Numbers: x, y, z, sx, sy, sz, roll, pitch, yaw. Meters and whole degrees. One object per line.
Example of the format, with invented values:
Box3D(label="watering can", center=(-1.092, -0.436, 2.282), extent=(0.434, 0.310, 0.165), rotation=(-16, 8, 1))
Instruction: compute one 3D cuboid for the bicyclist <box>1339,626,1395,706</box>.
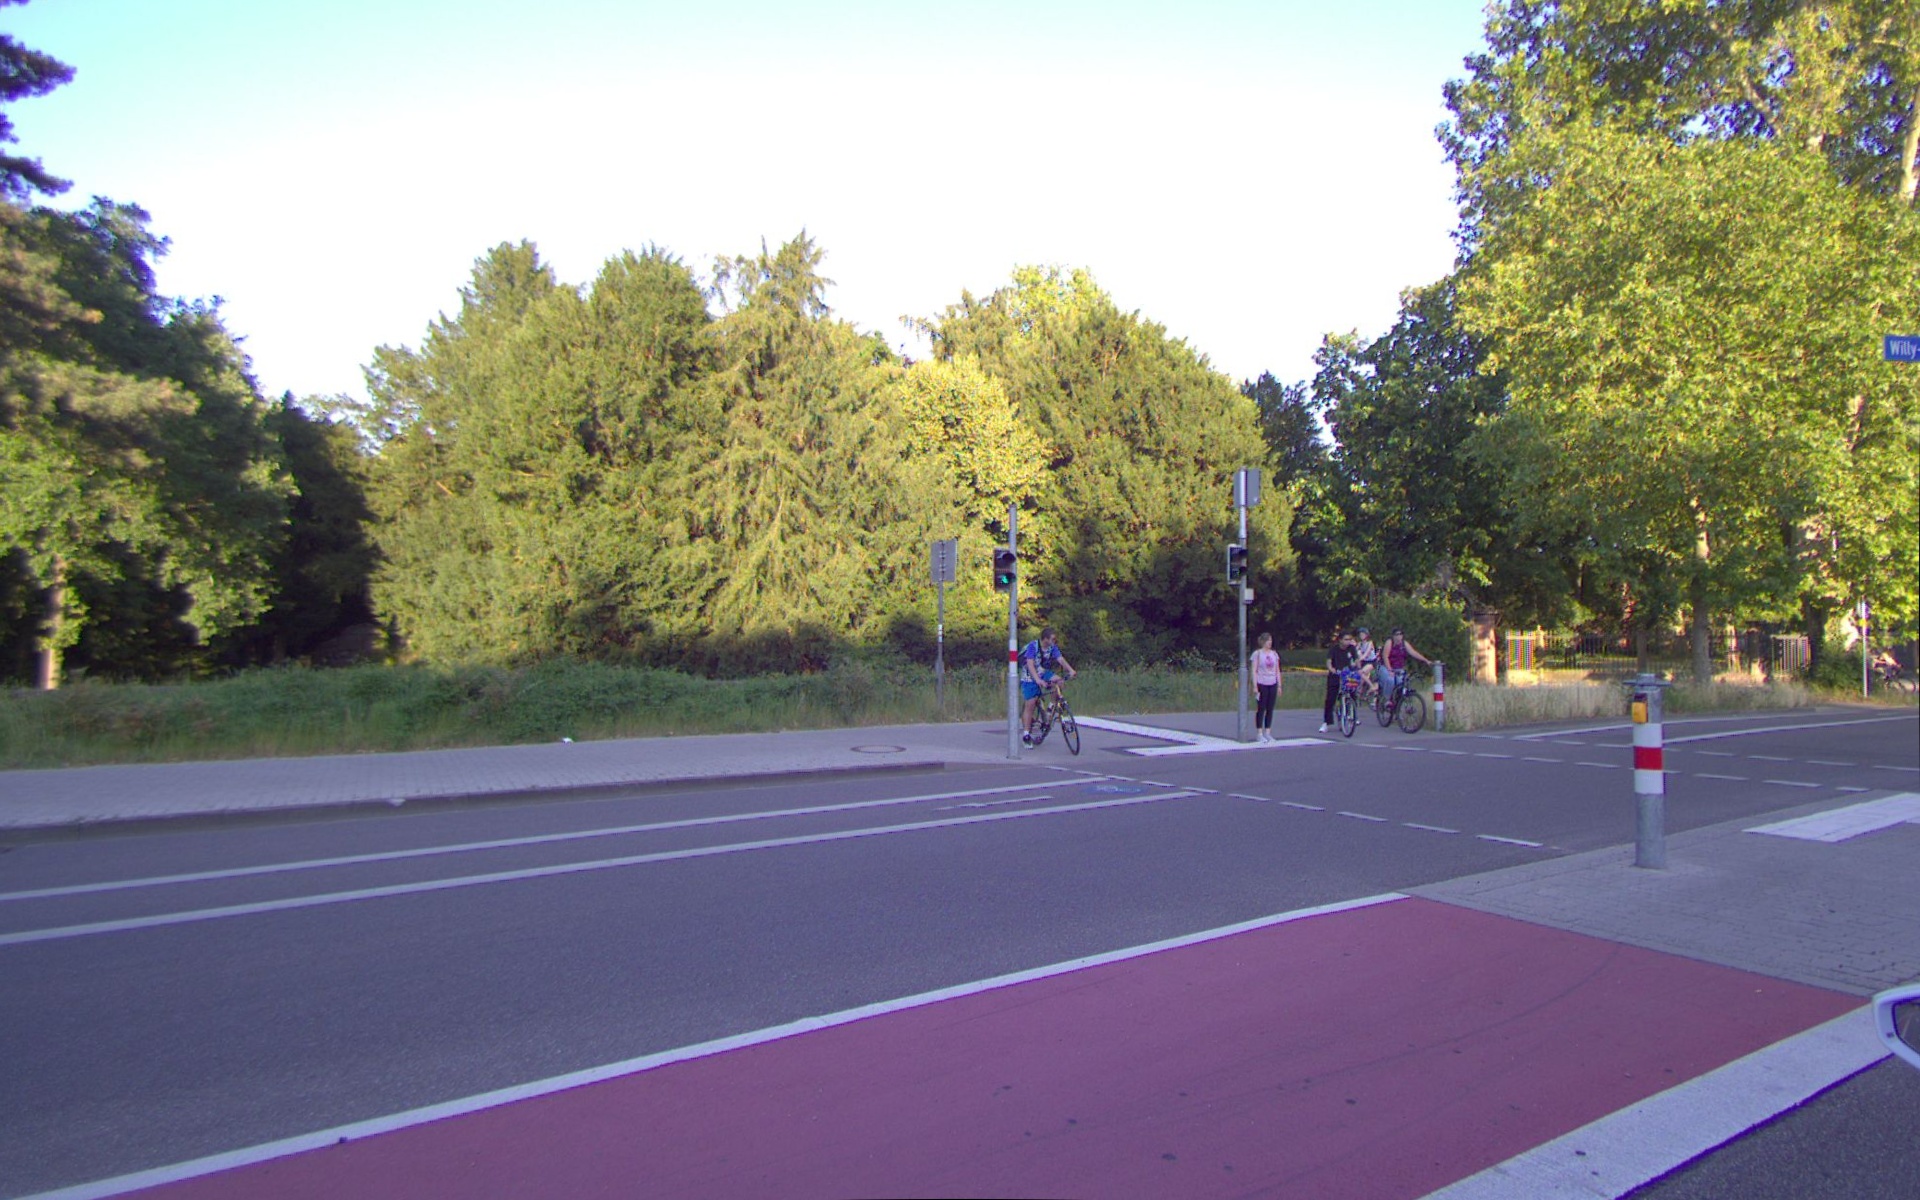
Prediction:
Box3D(label="bicyclist", center=(9.139, 1.470, 22.555), extent=(0.934, 1.751, 0.751), rotation=(1, -1, -31))

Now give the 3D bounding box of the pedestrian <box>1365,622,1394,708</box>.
Box3D(label="pedestrian", center=(10.080, 1.548, 24.142), extent=(0.584, 2.040, 0.642), rotation=(0, -1, 20))

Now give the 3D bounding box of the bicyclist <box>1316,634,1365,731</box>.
Box3D(label="bicyclist", center=(6.671, 1.430, 17.631), extent=(0.618, 1.671, 0.640), rotation=(0, -2, 1))

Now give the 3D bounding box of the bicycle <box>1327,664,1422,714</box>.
Box3D(label="bicycle", center=(9.344, 1.983, 22.628), extent=(2.269, 1.046, 0.736), rotation=(2, -1, -29))

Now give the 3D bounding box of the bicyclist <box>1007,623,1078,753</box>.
Box3D(label="bicyclist", center=(1.219, 1.281, 14.889), extent=(0.730, 1.848, 0.705), rotation=(3, -2, -34))

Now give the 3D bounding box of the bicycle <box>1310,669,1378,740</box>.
Box3D(label="bicycle", center=(6.666, 1.796, 17.515), extent=(0.620, 1.126, 1.569), rotation=(0, -2, 1))

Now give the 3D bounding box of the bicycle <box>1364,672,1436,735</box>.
Box3D(label="bicycle", center=(8.011, 1.861, 18.356), extent=(0.568, 1.043, 1.772), rotation=(0, -2, 1))

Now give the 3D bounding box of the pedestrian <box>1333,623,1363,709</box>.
Box3D(label="pedestrian", center=(9.406, 1.593, 24.353), extent=(0.638, 2.040, 0.606), rotation=(0, -1, 22))

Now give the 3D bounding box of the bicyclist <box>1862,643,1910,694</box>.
Box3D(label="bicyclist", center=(30.633, 2.246, 33.240), extent=(0.744, 1.652, 0.954), rotation=(1, -2, -29))

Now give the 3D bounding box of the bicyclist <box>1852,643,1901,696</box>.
Box3D(label="bicyclist", center=(29.290, 2.199, 32.098), extent=(0.744, 1.652, 0.954), rotation=(1, -2, -29))

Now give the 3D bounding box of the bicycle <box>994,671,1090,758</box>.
Box3D(label="bicycle", center=(1.173, 1.646, 14.856), extent=(0.760, 1.115, 2.116), rotation=(1, -2, -15))

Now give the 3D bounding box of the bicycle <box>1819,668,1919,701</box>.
Box3D(label="bicycle", center=(29.206, 2.698, 32.220), extent=(0.765, 0.936, 2.420), rotation=(1, -2, -29))

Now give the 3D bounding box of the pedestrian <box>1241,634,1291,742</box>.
Box3D(label="pedestrian", center=(4.991, 1.424, 16.403), extent=(0.492, 1.718, 0.604), rotation=(1, -2, -28))

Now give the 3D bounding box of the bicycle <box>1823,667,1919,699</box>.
Box3D(label="bicycle", center=(30.473, 2.753, 33.528), extent=(0.765, 0.936, 2.420), rotation=(1, -2, -29))

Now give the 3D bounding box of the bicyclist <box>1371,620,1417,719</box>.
Box3D(label="bicyclist", center=(8.019, 1.275, 18.567), extent=(0.564, 1.803, 0.640), rotation=(0, -2, 1))
